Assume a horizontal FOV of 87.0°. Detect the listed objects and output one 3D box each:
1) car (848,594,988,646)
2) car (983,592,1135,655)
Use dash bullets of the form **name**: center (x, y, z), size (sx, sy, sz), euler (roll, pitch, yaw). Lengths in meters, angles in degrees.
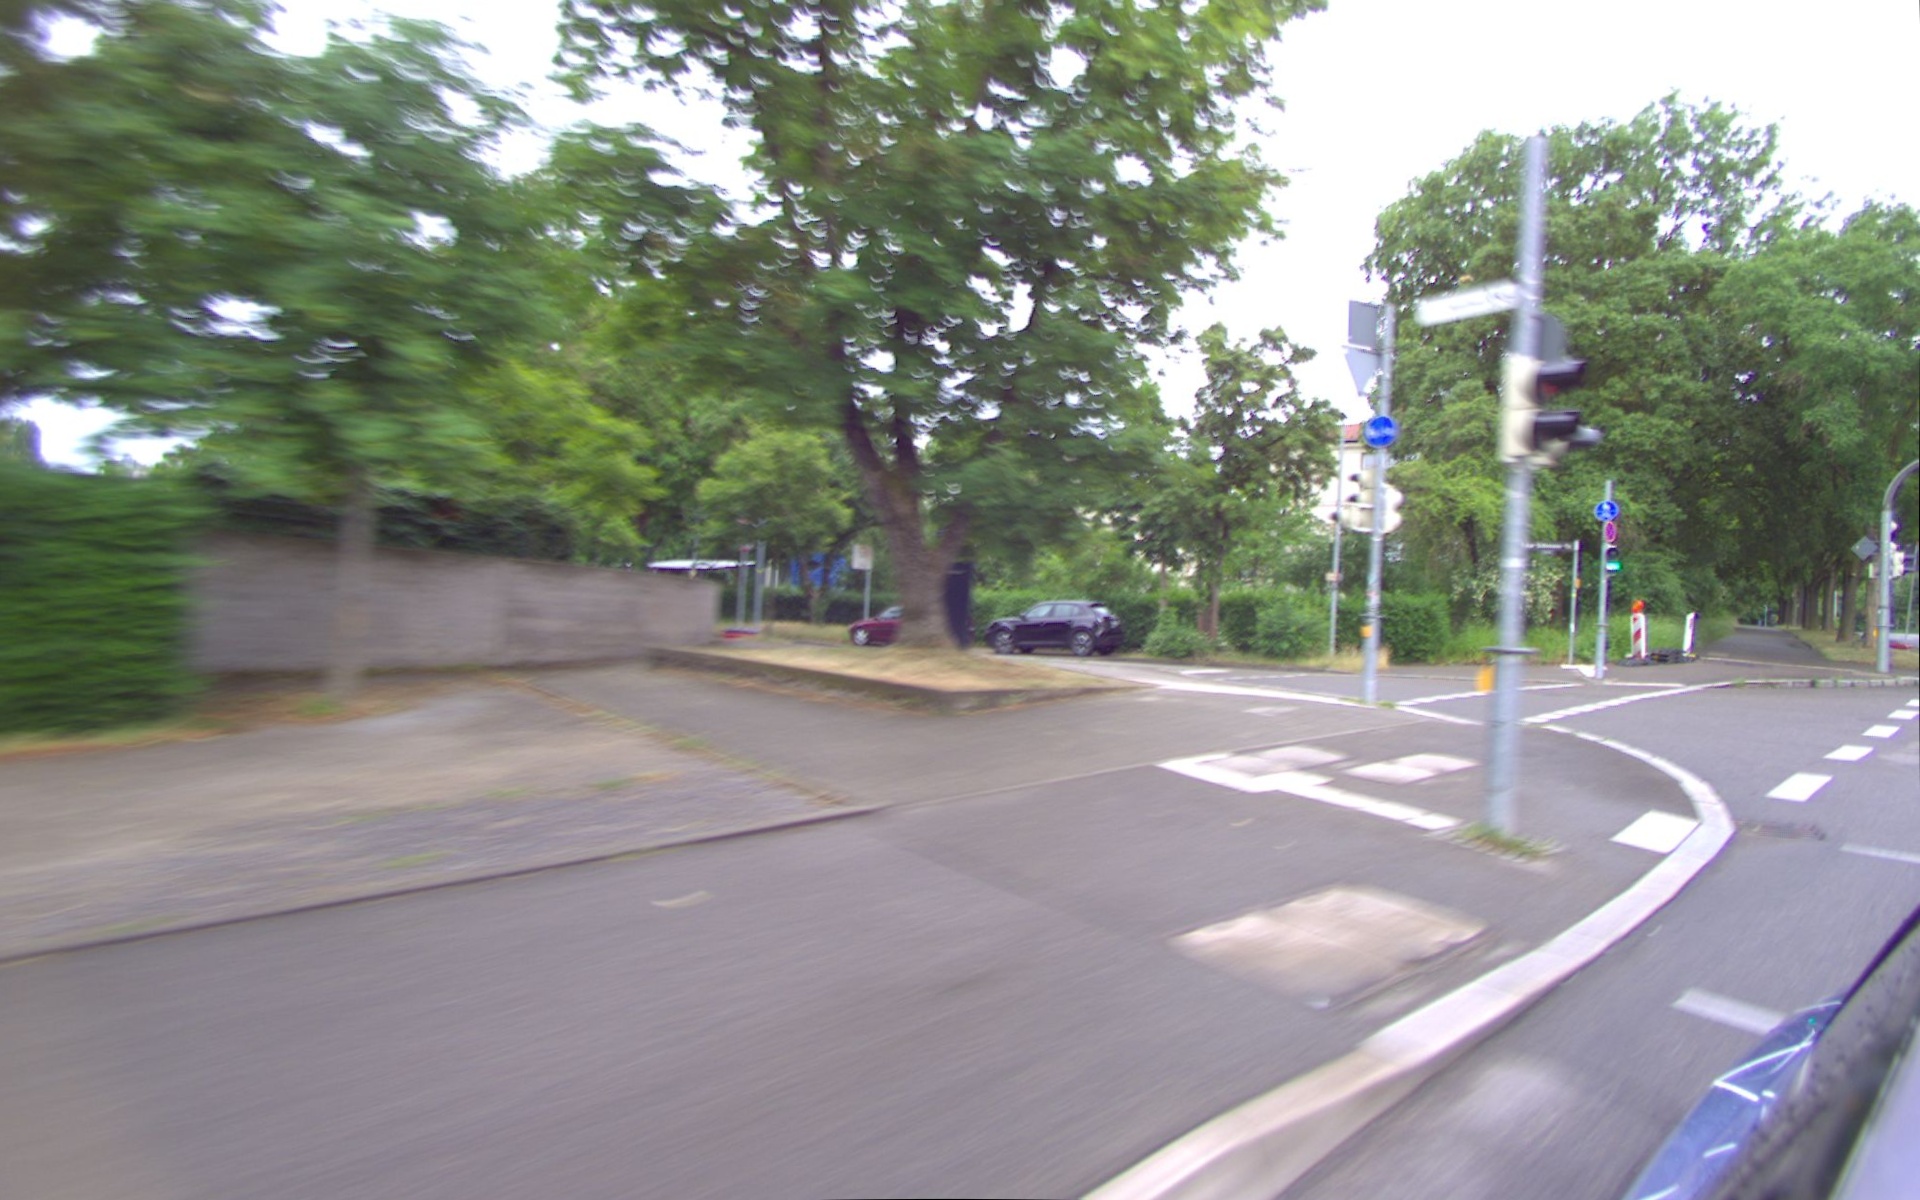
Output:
- **car**: center (-1.344, 0.581, 31.578), size (4.076, 1.411, 1.824), euler (2, 1, 33)
- **car**: center (2.800, 0.615, 28.804), size (3.875, 1.567, 1.860), euler (2, 1, 32)
